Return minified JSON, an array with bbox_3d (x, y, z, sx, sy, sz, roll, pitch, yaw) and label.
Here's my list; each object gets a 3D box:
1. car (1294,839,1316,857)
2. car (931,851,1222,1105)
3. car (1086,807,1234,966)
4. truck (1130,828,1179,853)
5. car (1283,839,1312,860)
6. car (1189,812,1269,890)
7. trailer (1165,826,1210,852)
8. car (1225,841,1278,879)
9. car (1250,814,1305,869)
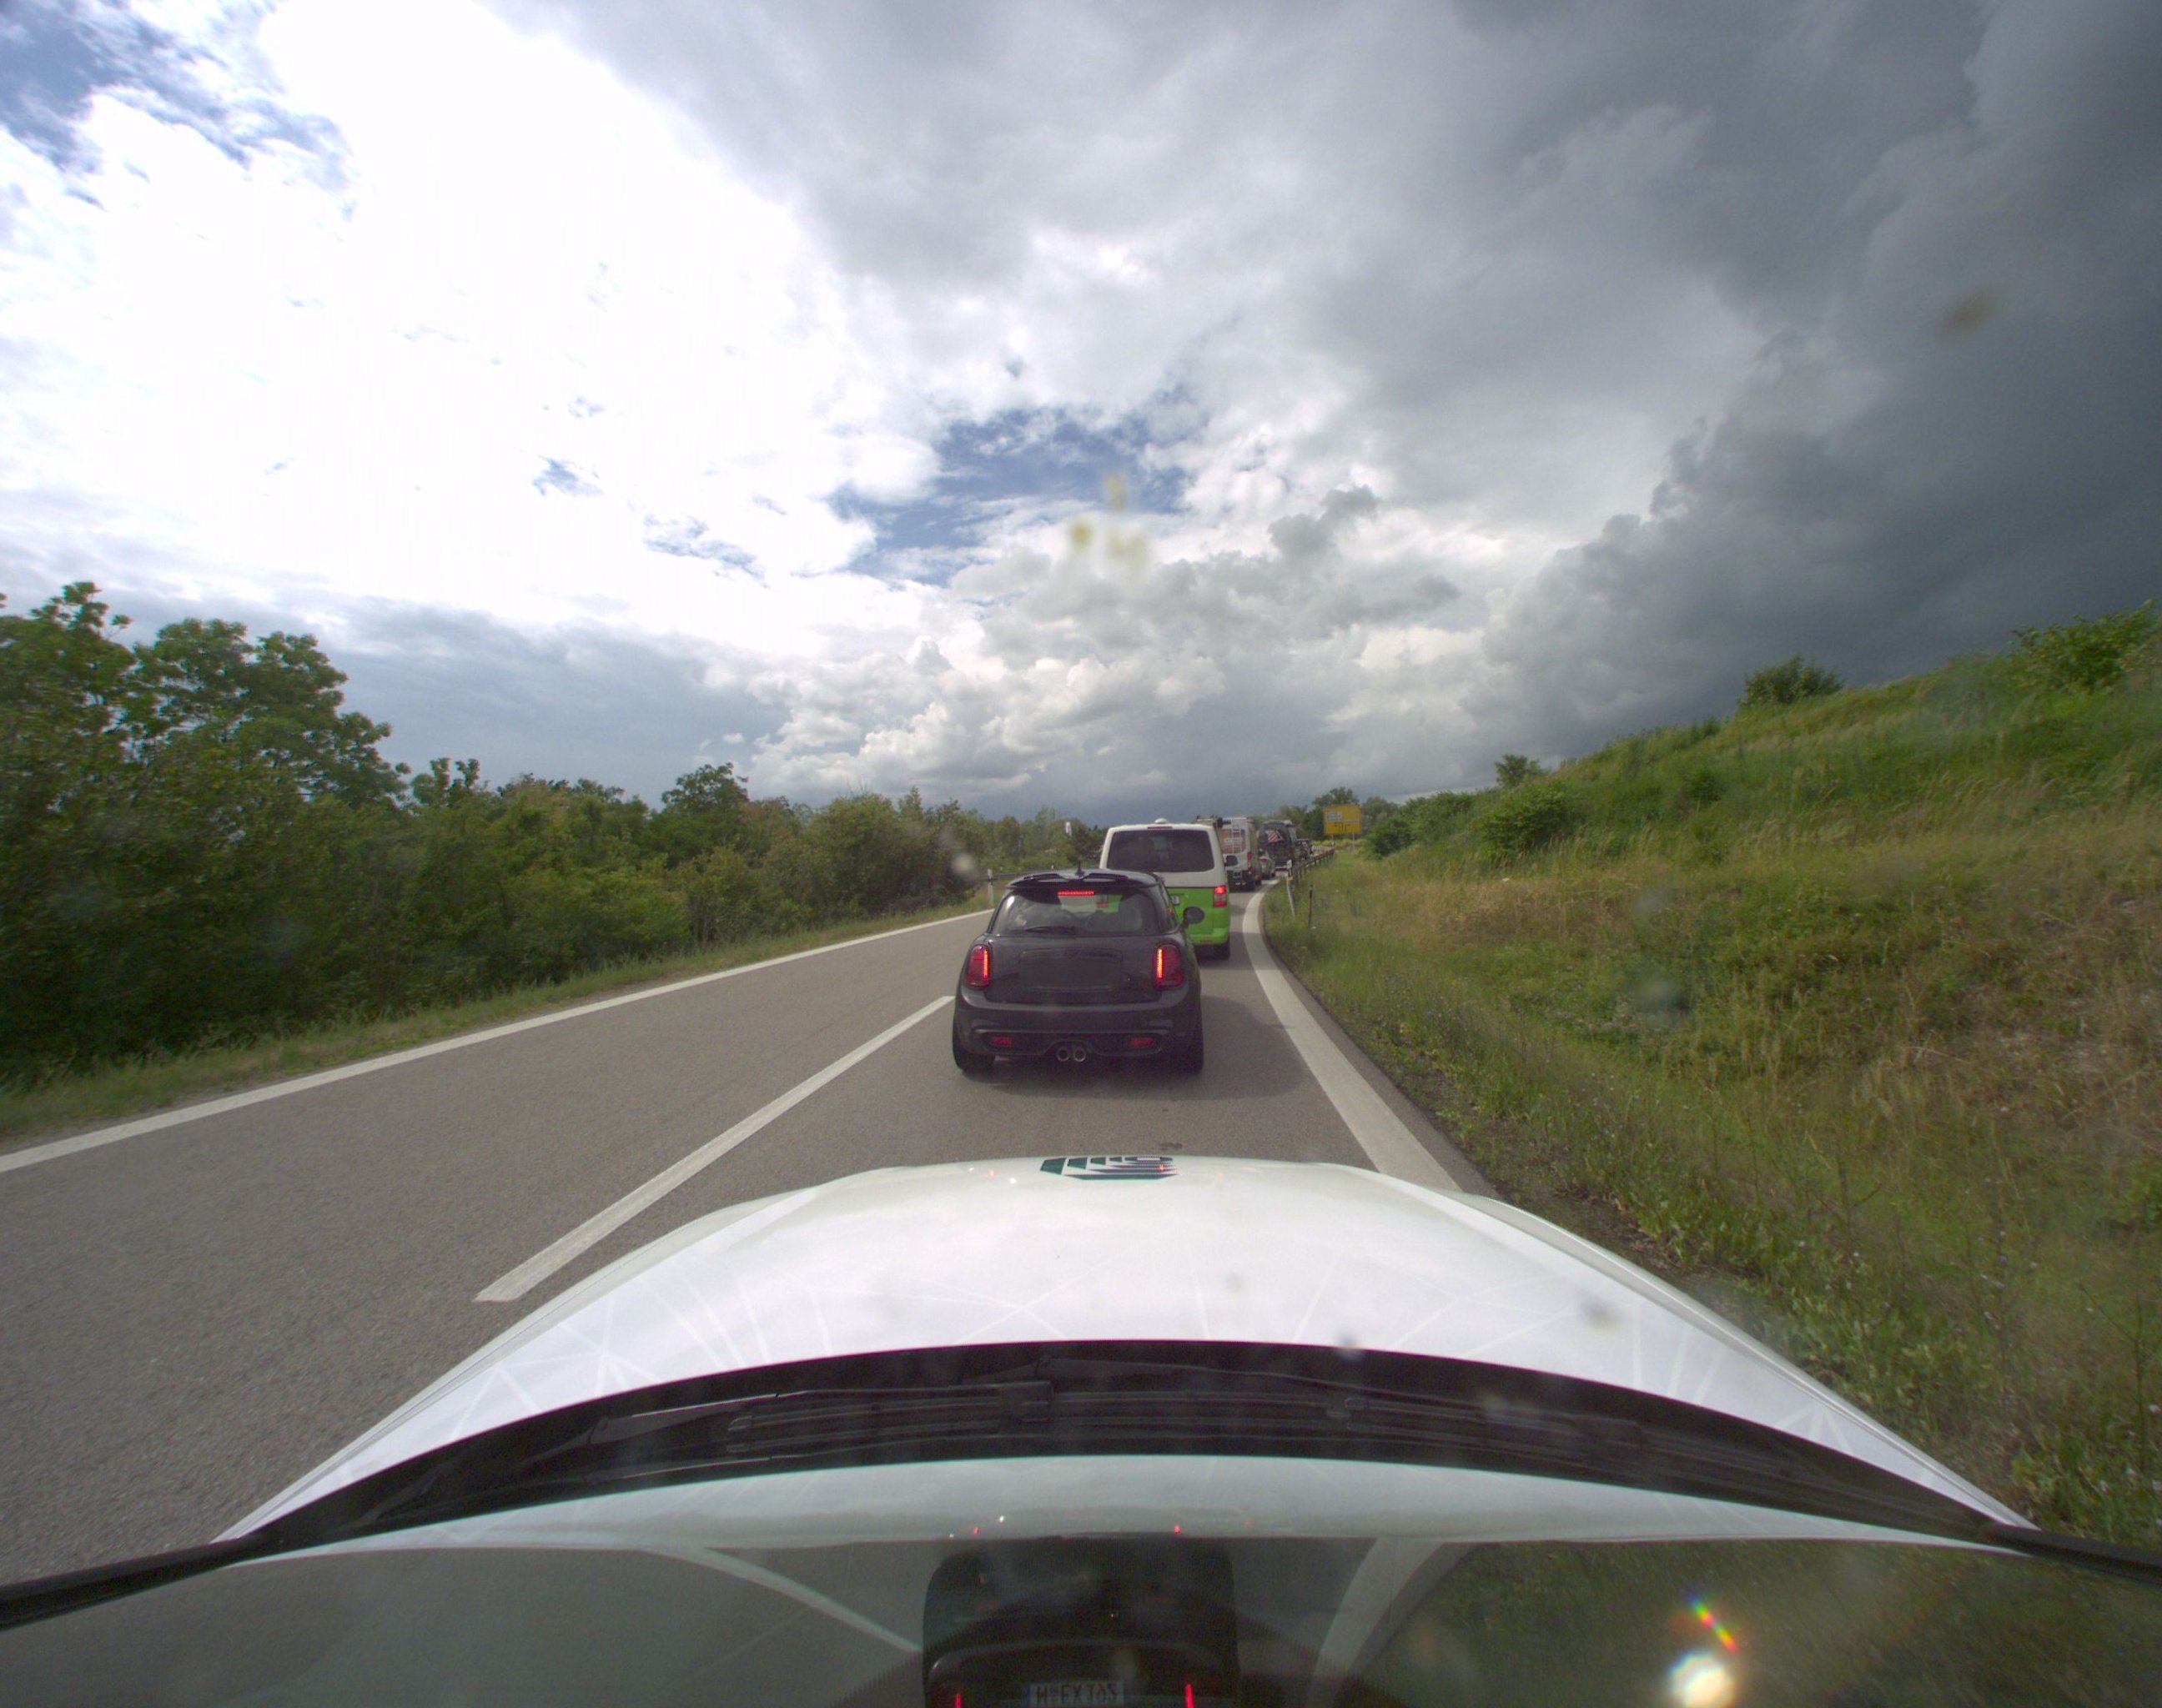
[{"bbox_3d":[24.163,-0.595,88.001,2.080,1.883,4.511,-1,-1,13],"label":"car"},{"bbox_3d":[0.154,0.767,6.925,1.790,1.546,3.745,-1,0,6],"label":"car"},{"bbox_3d":[1.406,0.435,12.722,1.899,2.045,4.193,-1,0,10],"label":"car"},{"bbox_3d":[12.660,-2.269,141.252,2.857,3.976,9.923,0,-1,-34],"label":"truck"},{"bbox_3d":[17.668,-0.351,66.360,1.877,1.588,4.518,-1,-1,20],"label":"car"},{"bbox_3d":[5.585,-0.081,30.147,2.194,2.622,5.559,-1,-1,18],"label":"car"},{"bbox_3d":[17.381,-2.376,133.435,3.051,3.898,8.698,0,-1,-26],"label":"trailer"},{"bbox_3d":[8.012,0.285,38.034,1.978,1.642,3.946,-1,-1,17],"label":"car"},{"bbox_3d":[11.773,-0.665,48.408,2.291,3.069,6.696,-1,-1,21],"label":"car"}]
